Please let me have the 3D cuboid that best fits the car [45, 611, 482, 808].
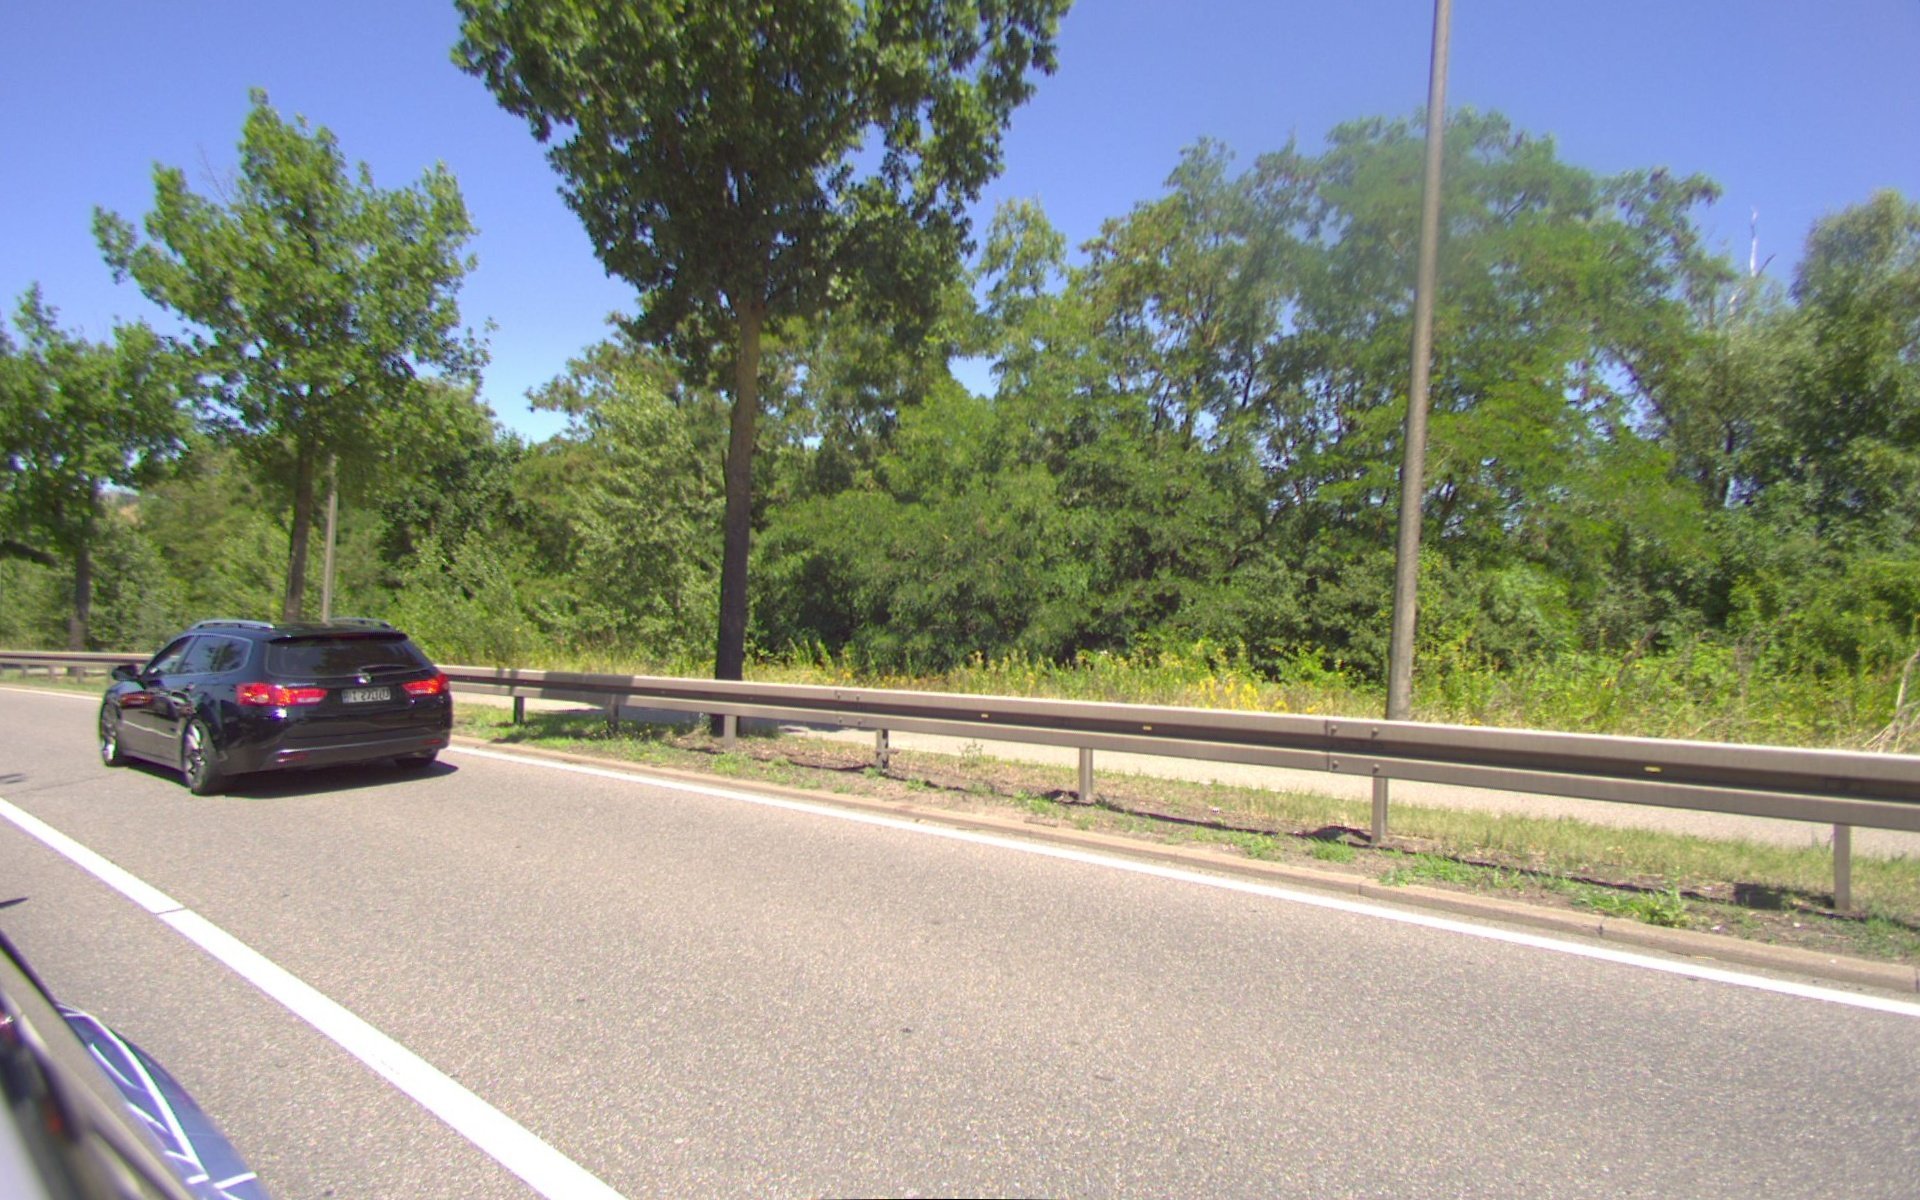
[{"bbox_3d":[-6.637,0.845,9.458,4.659,1.391,1.860,-1,0,35],"label":"car"}]
